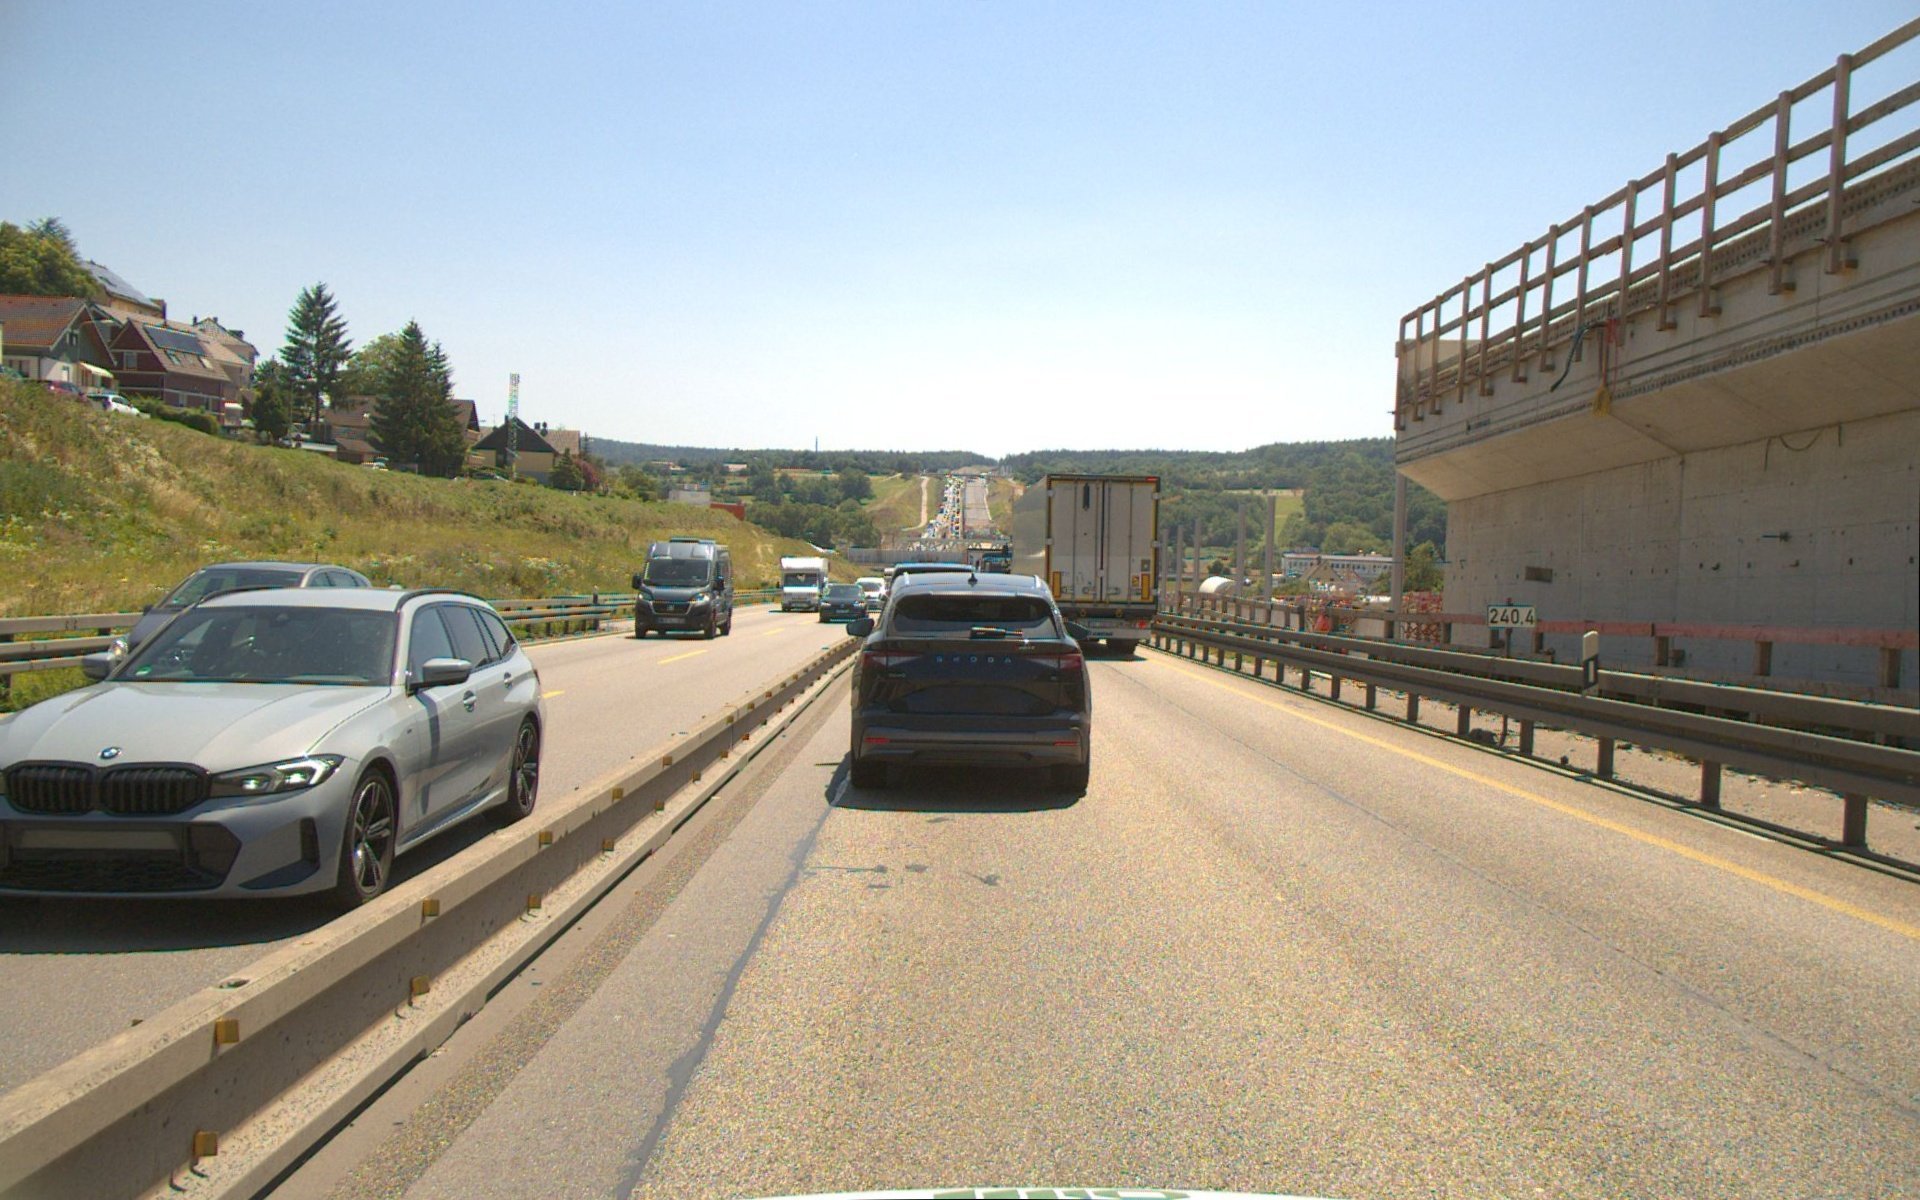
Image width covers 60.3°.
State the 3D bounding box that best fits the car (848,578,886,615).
[{"bbox_3d":[-4.899,-0.221,87.485,1.800,1.860,5.039,1,0,-2],"label":"car"}]

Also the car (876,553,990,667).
[{"bbox_3d":[-0.503,0.198,31.061,1.953,1.959,4.506,1,-1,-1],"label":"car"}]

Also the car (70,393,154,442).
[{"bbox_3d":[-46.279,-9.941,90.378,2.301,2.077,4.814,1,-1,-4],"label":"car"}]

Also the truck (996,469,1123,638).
[{"bbox_3d":[2.826,-1.328,49.549,3.116,4.591,8.165,1,1,-1],"label":"truck"}]

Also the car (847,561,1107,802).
[{"bbox_3d":[0.114,0.562,13.368,1.765,1.635,4.000,1,0,0],"label":"car"}]

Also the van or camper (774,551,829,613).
[{"bbox_3d":[-8.344,-0.937,87.661,2.244,3.120,6.923,1,0,-1],"label":"van or camper"}]

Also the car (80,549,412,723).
[{"bbox_3d":[-7.526,0.333,17.940,1.737,1.609,4.285,2,0,-1],"label":"car"}]

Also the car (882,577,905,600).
[{"bbox_3d":[-4.593,-0.814,114.472,1.453,1.531,2.805,1,0,-1],"label":"car"}]

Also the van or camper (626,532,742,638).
[{"bbox_3d":[-7.422,-0.406,45.146,2.096,2.618,6.563,1,0,-1],"label":"van or camper"}]

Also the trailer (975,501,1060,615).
[{"bbox_3d":[2.429,-1.664,75.543,3.116,4.592,14.963,1,-1,-1],"label":"trailer"}]

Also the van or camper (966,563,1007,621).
[{"bbox_3d":[1.592,-0.421,99.501,2.339,3.338,6.469,1,-1,1],"label":"van or camper"}]

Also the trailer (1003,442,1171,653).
[{"bbox_3d":[2.967,-1.253,43.051,3.116,4.591,13.107,1,1,-1],"label":"trailer"}]

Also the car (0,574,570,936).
[{"bbox_3d":[-3.536,0.613,8.993,1.792,1.458,4.628,0,0,-1],"label":"car"}]

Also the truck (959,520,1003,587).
[{"bbox_3d":[1.524,-3.402,125.466,2.794,4.543,11.913,1,-1,-1],"label":"truck"}]

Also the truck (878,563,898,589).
[{"bbox_3d":[-10.856,-3.593,249.269,2.722,3.736,6.276,1,1,-1],"label":"truck"}]

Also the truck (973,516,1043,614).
[{"bbox_3d":[2.309,-1.647,82.691,3.116,4.592,8.163,1,-1,-1],"label":"truck"}]

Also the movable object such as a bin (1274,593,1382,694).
[{"bbox_3d":[18.670,2.152,84.526,3.162,4.826,9.652,1,-1,-1],"label":"movable object such as a bin"}]

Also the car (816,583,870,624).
[{"bbox_3d":[-4.523,0.106,64.455,1.805,1.501,4.834,1,0,-1],"label":"car"}]

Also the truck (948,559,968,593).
[{"bbox_3d":[-0.318,-3.227,221.879,2.586,4.267,9.282,1,-1,-1],"label":"truck"}]
